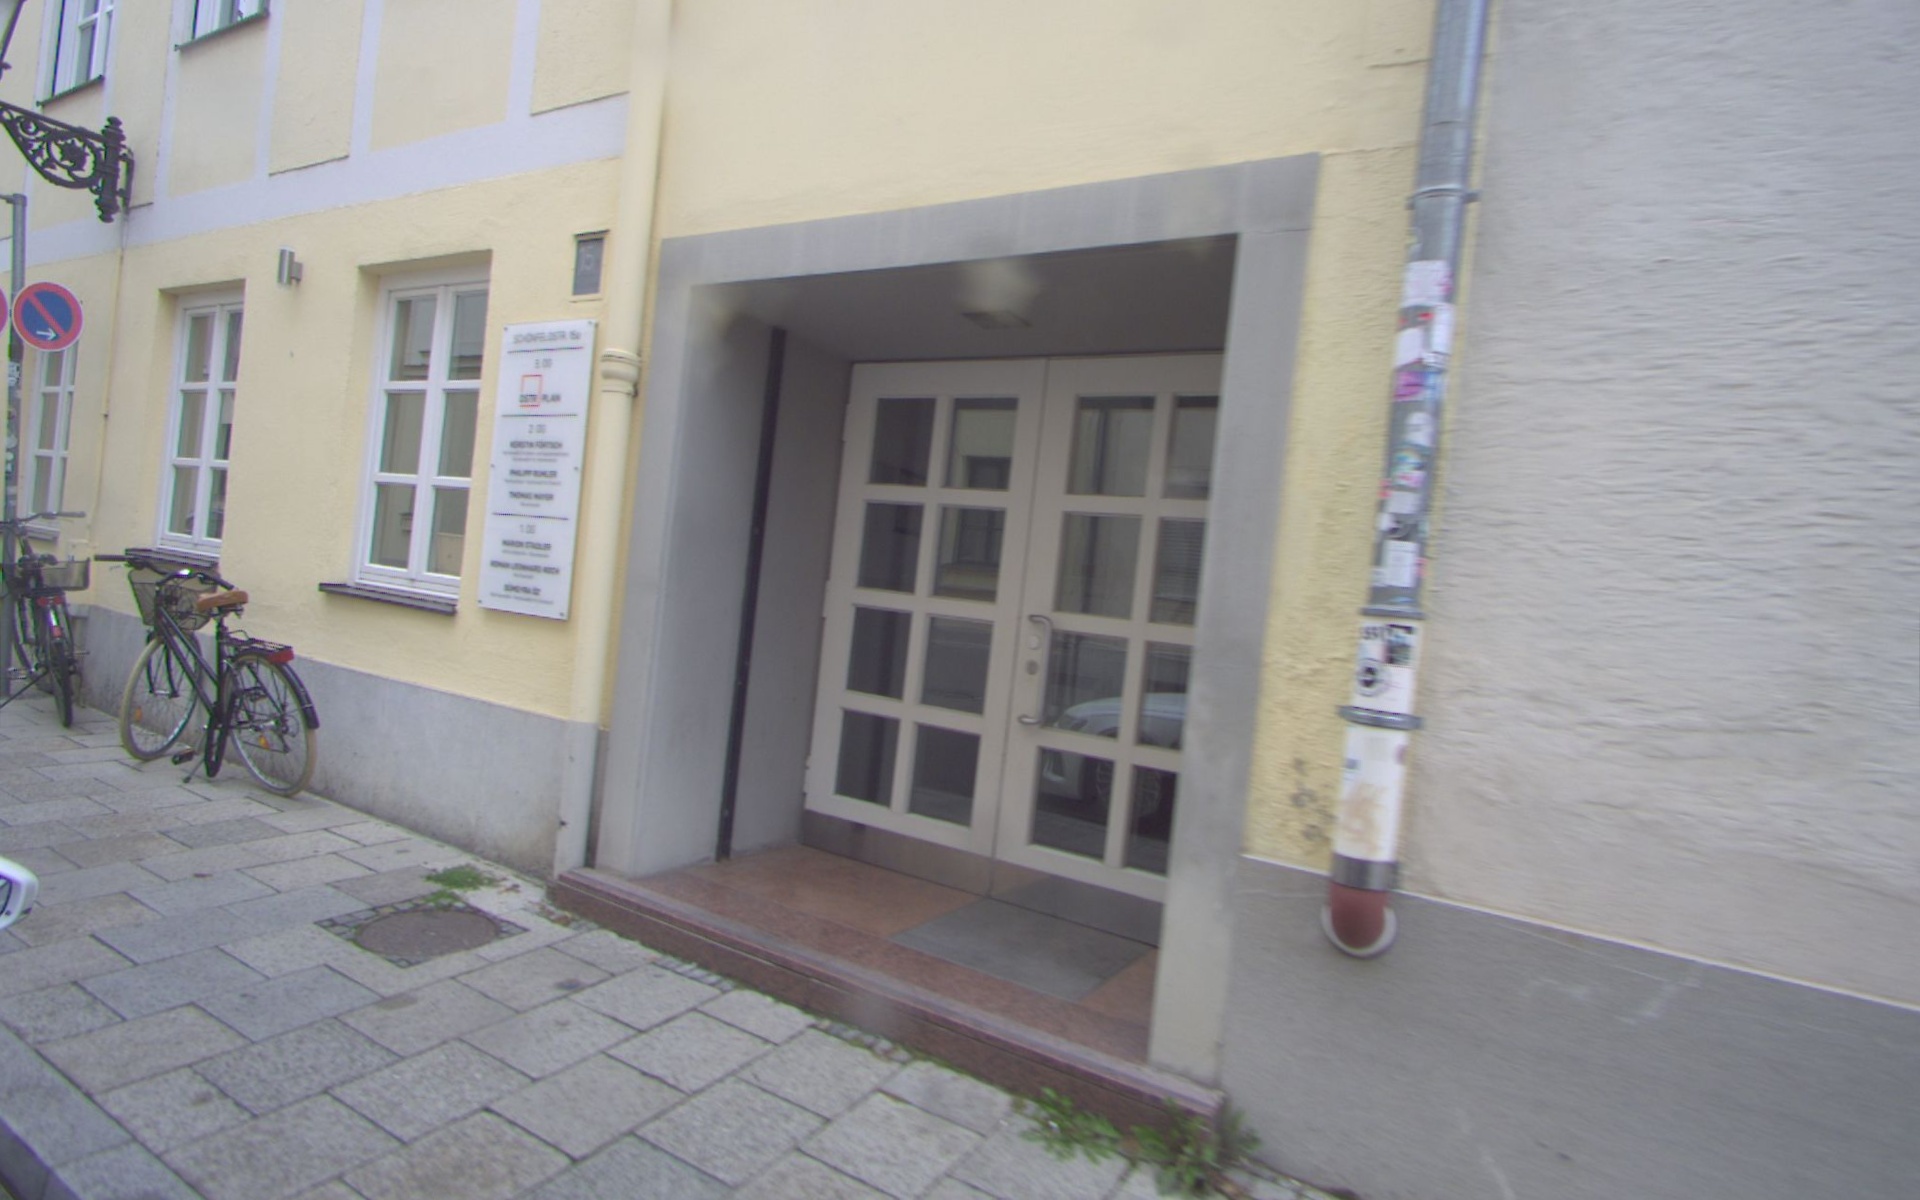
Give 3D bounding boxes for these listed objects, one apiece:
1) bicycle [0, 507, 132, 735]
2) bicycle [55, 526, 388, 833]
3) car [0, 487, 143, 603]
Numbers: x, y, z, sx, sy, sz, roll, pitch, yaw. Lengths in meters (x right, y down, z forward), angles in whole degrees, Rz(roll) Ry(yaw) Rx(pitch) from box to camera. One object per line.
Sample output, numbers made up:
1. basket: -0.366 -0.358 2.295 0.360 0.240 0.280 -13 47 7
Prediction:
1. bicycle: -5.577 0.060 5.894 1.656 1.152 0.565 7 2 32
2. bicycle: -3.659 0.305 4.918 1.954 1.152 0.565 7 2 32
3. car: -14.749 -0.994 14.627 1.735 1.458 4.022 10 0 32
